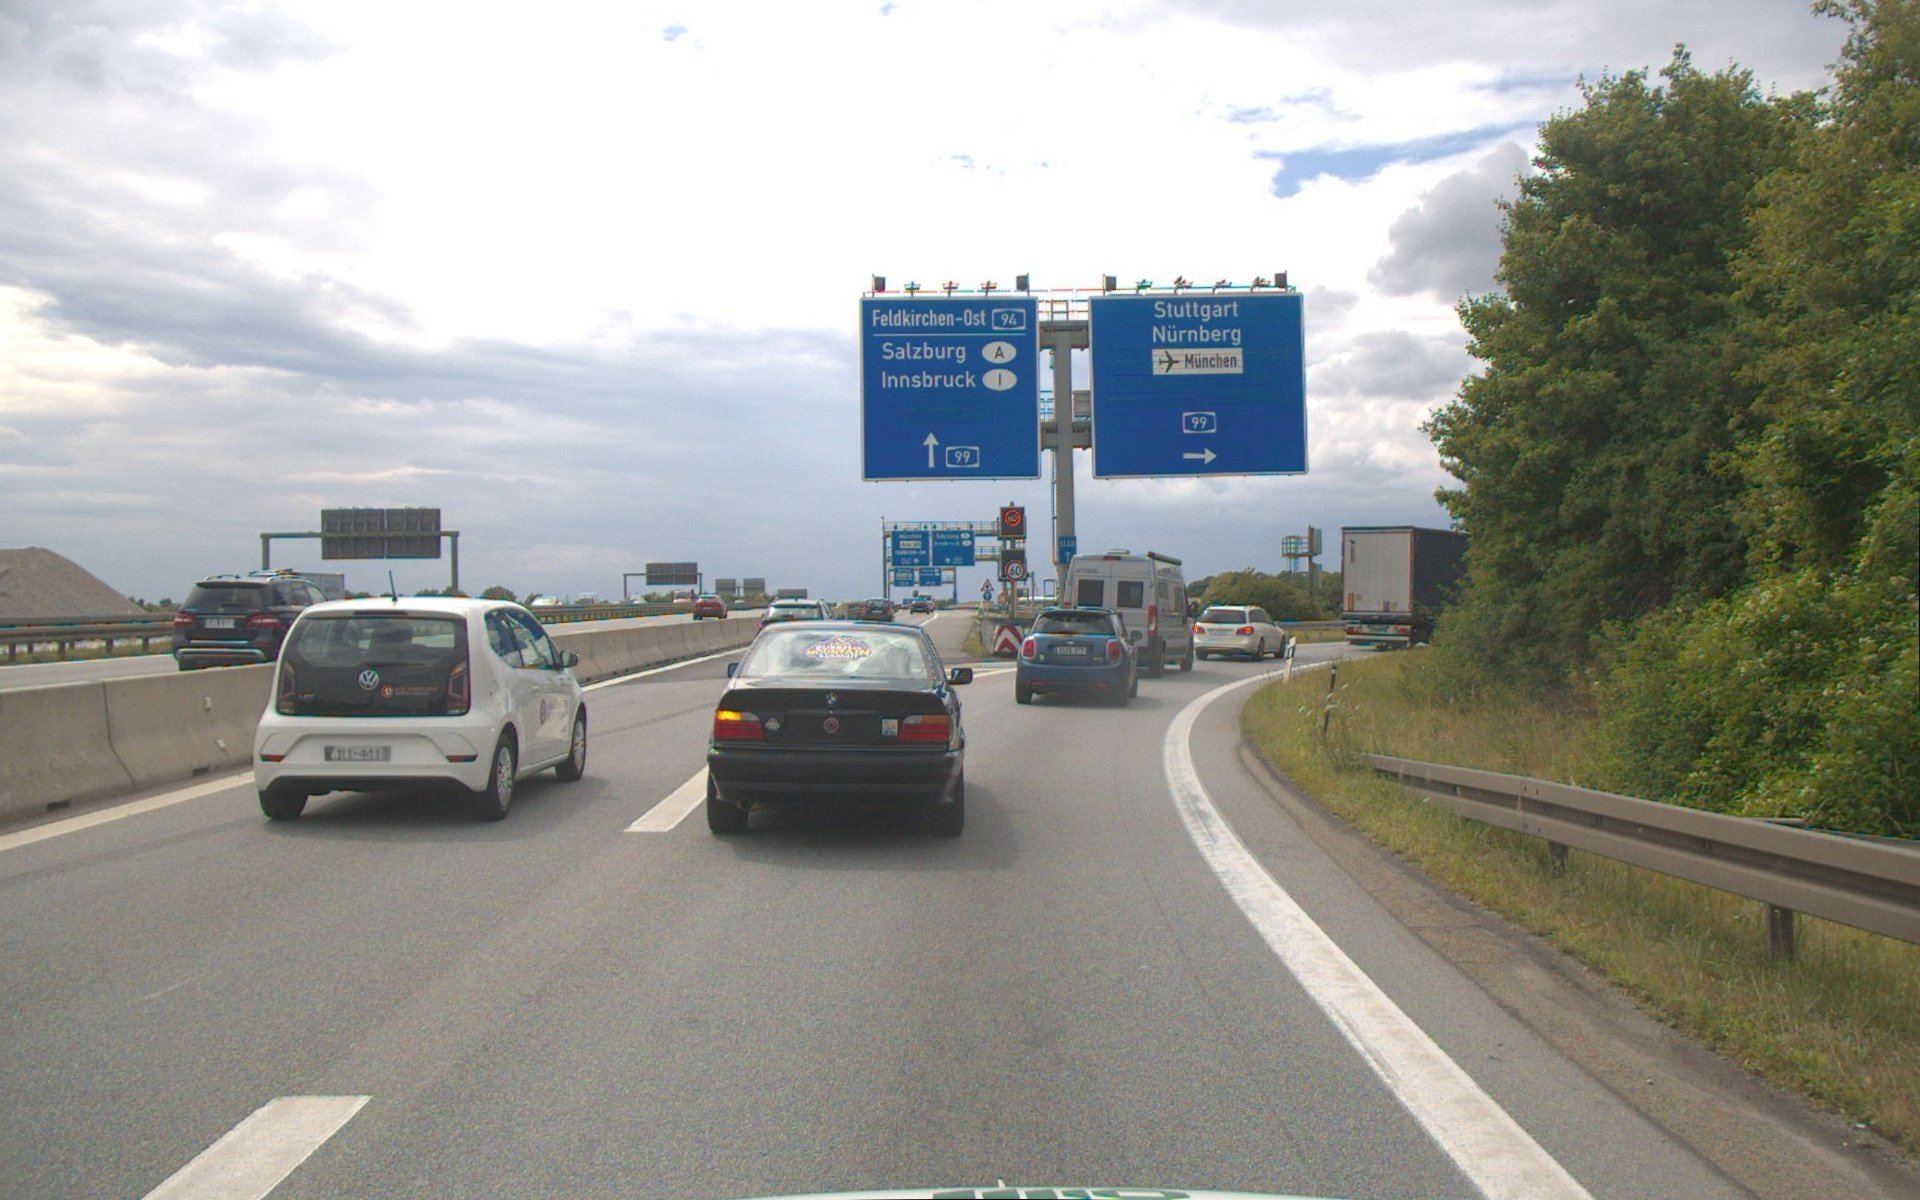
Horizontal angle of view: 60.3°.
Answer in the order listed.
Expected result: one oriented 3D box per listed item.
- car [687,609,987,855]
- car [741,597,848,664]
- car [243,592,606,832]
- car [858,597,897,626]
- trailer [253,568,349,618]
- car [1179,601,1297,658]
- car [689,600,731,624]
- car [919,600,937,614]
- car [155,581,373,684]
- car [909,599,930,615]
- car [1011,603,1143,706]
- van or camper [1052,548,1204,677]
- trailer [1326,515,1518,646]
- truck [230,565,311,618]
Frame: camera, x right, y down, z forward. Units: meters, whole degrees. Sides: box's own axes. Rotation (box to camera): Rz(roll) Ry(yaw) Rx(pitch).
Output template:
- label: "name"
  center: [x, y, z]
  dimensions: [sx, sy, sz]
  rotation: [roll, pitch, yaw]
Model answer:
- label: "car"
  center: [-0.737, 0.780, 11.709]
  dimensions: [1.746, 1.402, 4.136]
  rotation: [0, 0, -1]
- label: "car"
  center: [-3.808, 0.674, 38.690]
  dimensions: [1.952, 1.494, 4.001]
  rotation: [0, 0, 2]
- label: "car"
  center: [-3.753, 0.705, 12.197]
  dimensions: [1.553, 1.510, 3.534]
  rotation: [0, 0, -1]
- label: "car"
  center: [-4.213, 0.586, 84.846]
  dimensions: [1.828, 1.449, 3.999]
  rotation: [0, 0, -1]
- label: "trailer"
  center: [-46.013, -0.493, 115.865]
  dimensions: [3.133, 3.326, 9.820]
  rotation: [0, 0, -2]
- label: "car"
  center: [7.927, 0.803, 46.713]
  dimensions: [2.162, 1.527, 4.785]
  rotation: [0, 0, 24]
- label: "car"
  center: [-15.490, 0.735, 102.693]
  dimensions: [1.952, 1.494, 4.000]
  rotation: [0, 0, 0]
- label: "car"
  center: [-3.320, 0.736, 173.176]
  dimensions: [1.766, 1.449, 4.000]
  rotation: [0, 0, 0]
- label: "car"
  center: [-12.455, 0.541, 29.977]
  dimensions: [1.953, 1.713, 4.865]
  rotation: [0, 0, -1]
- label: "car"
  center: [-3.687, 0.635, 150.707]
  dimensions: [1.766, 1.449, 4.000]
  rotation: [0, 0, 0]
- label: "car"
  center: [1.892, 0.787, 25.790]
  dimensions: [1.692, 1.444, 3.669]
  rotation: [1, 0, 9]
- label: "van or camper"
  center: [3.863, 0.252, 36.897]
  dimensions: [2.245, 2.613, 6.164]
  rotation: [0, 0, 17]
- label: "trailer"
  center: [17.099, -0.622, 60.206]
  dimensions: [3.270, 4.266, 12.999]
  rotation: [0, 0, 32]
- label: "truck"
  center: [-45.813, -0.559, 110.074]
  dimensions: [3.086, 3.388, 5.621]
  rotation: [0, 0, -1]
